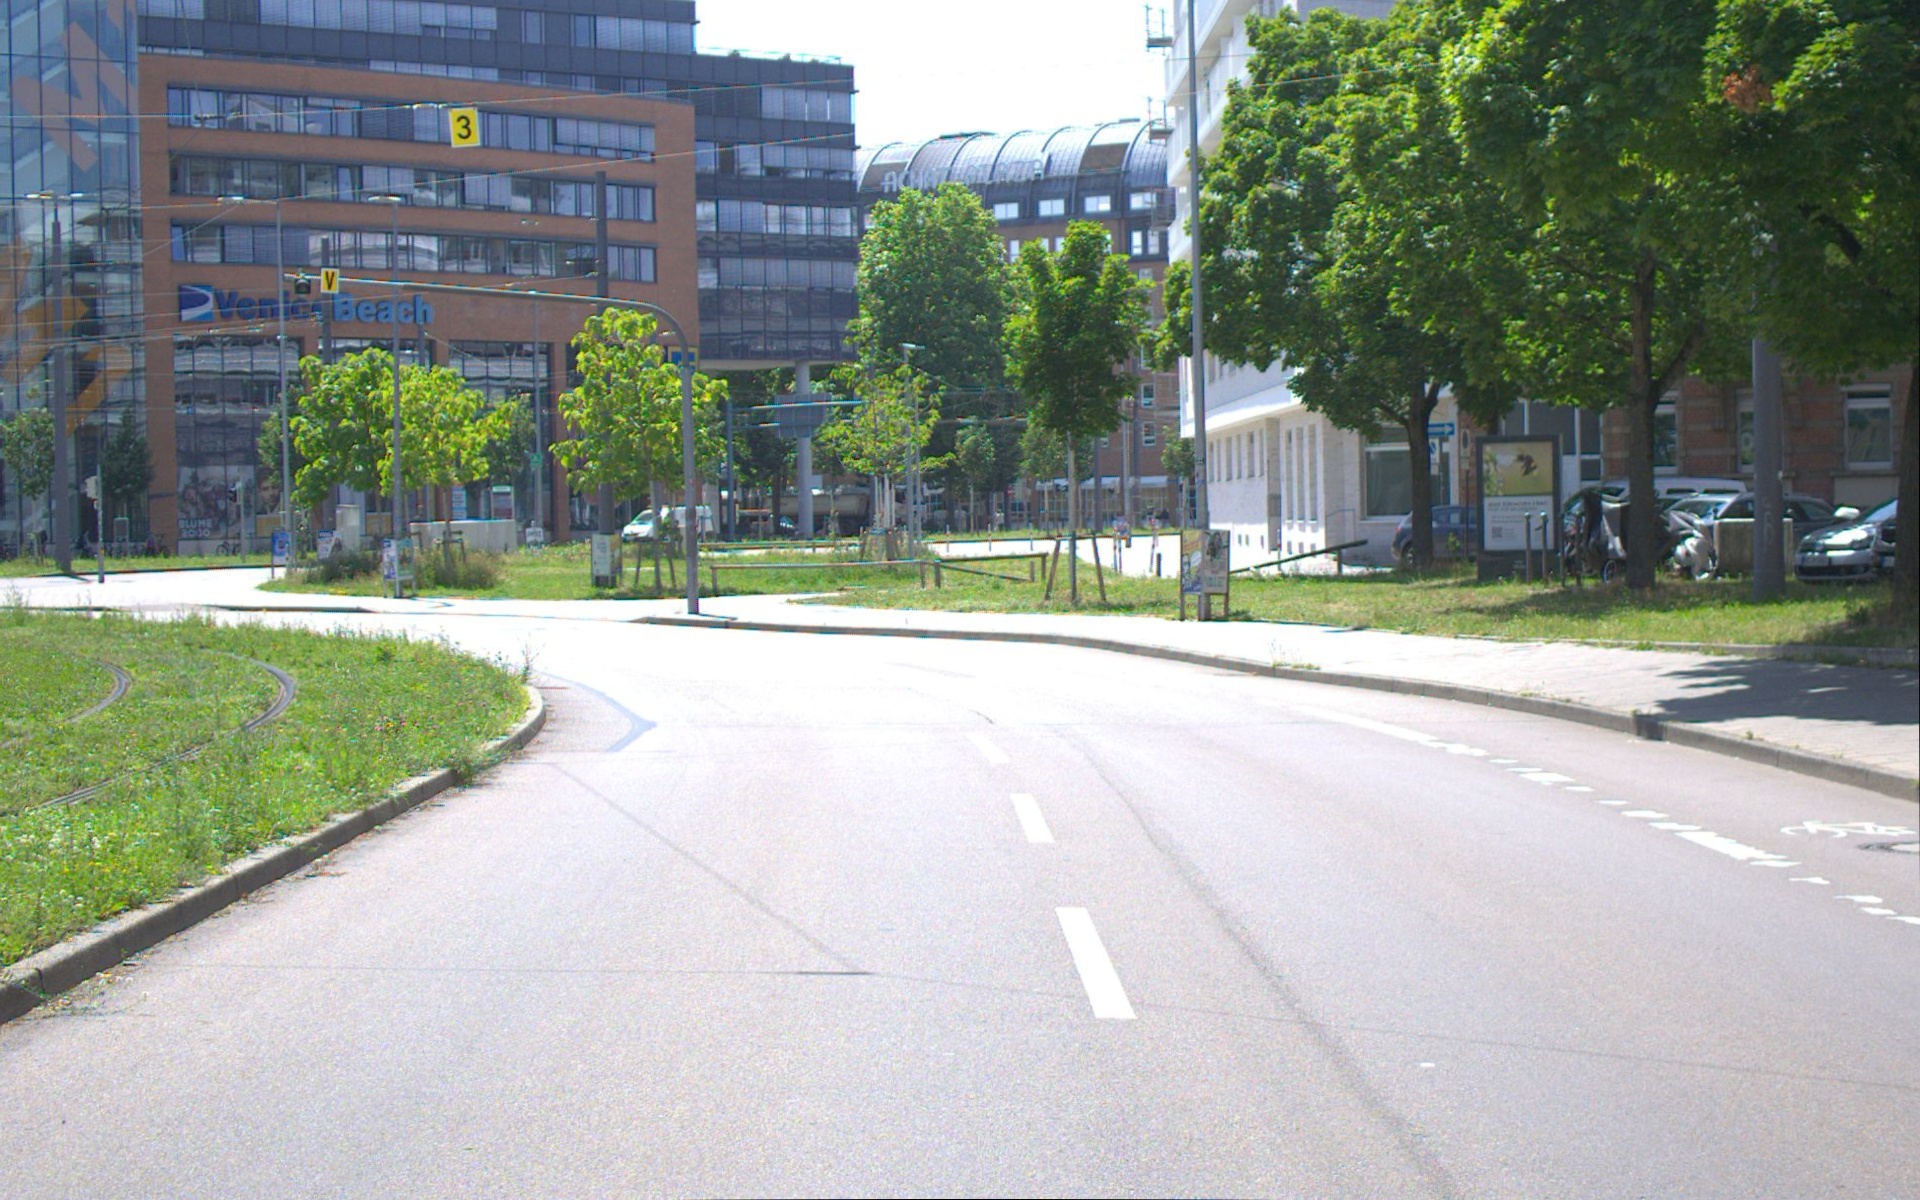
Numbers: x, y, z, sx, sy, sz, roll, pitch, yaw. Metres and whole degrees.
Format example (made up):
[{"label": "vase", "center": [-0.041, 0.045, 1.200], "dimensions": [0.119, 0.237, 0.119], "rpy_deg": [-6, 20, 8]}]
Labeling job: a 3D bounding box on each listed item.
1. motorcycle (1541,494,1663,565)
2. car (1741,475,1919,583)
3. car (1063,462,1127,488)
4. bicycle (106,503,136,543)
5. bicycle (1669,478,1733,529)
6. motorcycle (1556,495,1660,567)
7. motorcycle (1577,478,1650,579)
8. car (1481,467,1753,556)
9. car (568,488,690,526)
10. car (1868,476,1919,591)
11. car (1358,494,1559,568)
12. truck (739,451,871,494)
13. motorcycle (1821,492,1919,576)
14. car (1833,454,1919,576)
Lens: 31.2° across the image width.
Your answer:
[{"label": "motorcycle", "center": [10.167, -1.112, 54.440], "dimensions": [1.821, 1.116, 0.528], "rpy_deg": [0, 1, -7]}, {"label": "car", "center": [12.519, -0.945, 45.260], "dimensions": [4.333, 1.371, 1.583], "rpy_deg": [-1, 2, -26]}, {"label": "car", "center": [9.273, -8.613, 236.716], "dimensions": [3.994, 1.722, 1.863], "rpy_deg": [1, 2, 30]}, {"label": "bicycle", "center": [-37.325, -3.431, 152.954], "dimensions": [0.485, 1.790, 2.258], "rpy_deg": [-1, 2, -36]}, {"label": "bicycle", "center": [11.887, -1.548, 55.146], "dimensions": [0.498, 0.802, 1.453], "rpy_deg": [1, 2, 33]}, {"label": "motorcycle", "center": [10.057, -1.078, 53.393], "dimensions": [1.520, 1.116, 0.478], "rpy_deg": [0, 1, -1]}, {"label": "motorcycle", "center": [9.466, -1.052, 49.857], "dimensions": [0.675, 1.408, 1.857], "rpy_deg": [-2, 2, 1]}, {"label": "car", "center": [12.160, -1.640, 63.581], "dimensions": [4.858, 1.595, 1.836], "rpy_deg": [-1, 2, -28]}, {"label": "car", "center": [-15.008, -4.226, 156.137], "dimensions": [5.466, 1.662, 1.999], "rpy_deg": [-1, 2, -43]}, {"label": "car", "center": [12.735, -0.772, 39.669], "dimensions": [3.986, 1.309, 1.973], "rpy_deg": [-1, 2, -22]}, {"label": "car", "center": [11.138, -1.554, 76.834], "dimensions": [4.123, 1.619, 1.693], "rpy_deg": [1, 2, 29]}, {"label": "truck", "center": [-10.353, -8.468, 228.275], "dimensions": [9.226, 2.799, 1.997], "rpy_deg": [1, 2, 31]}, {"label": "motorcycle", "center": [13.811, -0.977, 50.843], "dimensions": [2.080, 1.232, 0.812], "rpy_deg": [0, 1, 15]}, {"label": "car", "center": [12.976, -1.054, 42.486], "dimensions": [4.078, 1.464, 1.798], "rpy_deg": [-1, 2, -28]}]
